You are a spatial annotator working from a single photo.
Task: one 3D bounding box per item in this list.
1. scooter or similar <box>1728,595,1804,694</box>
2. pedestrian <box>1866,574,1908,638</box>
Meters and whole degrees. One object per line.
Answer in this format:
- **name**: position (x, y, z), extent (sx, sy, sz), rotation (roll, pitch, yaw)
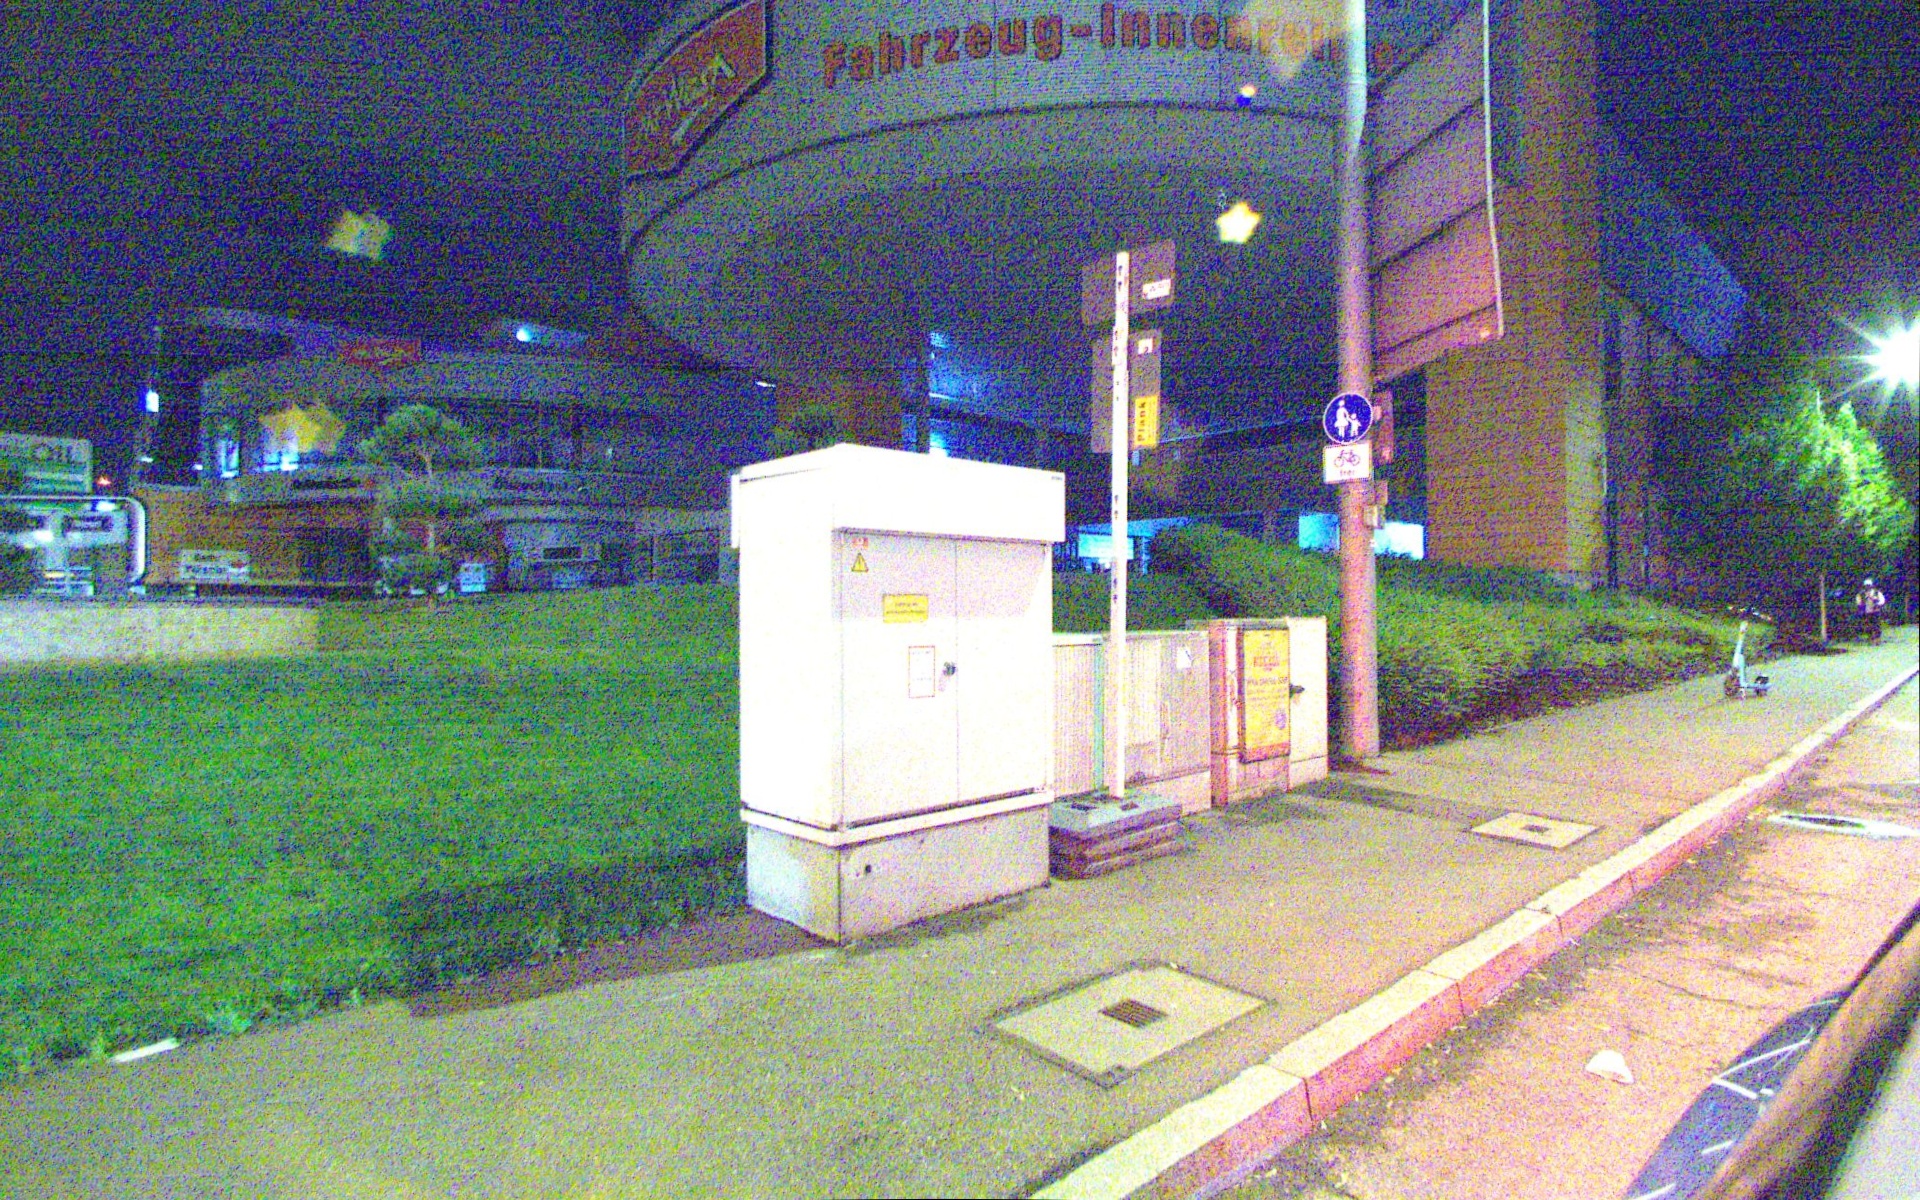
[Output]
- **scooter or similar**: position (11.231, 0.593, 14.091), extent (1.367, 1.295, 0.569), rotation (0, 1, -41)
- **pedestrian**: position (27.116, 0.174, 29.602), extent (0.597, 1.842, 0.824), rotation (-1, 0, -40)
